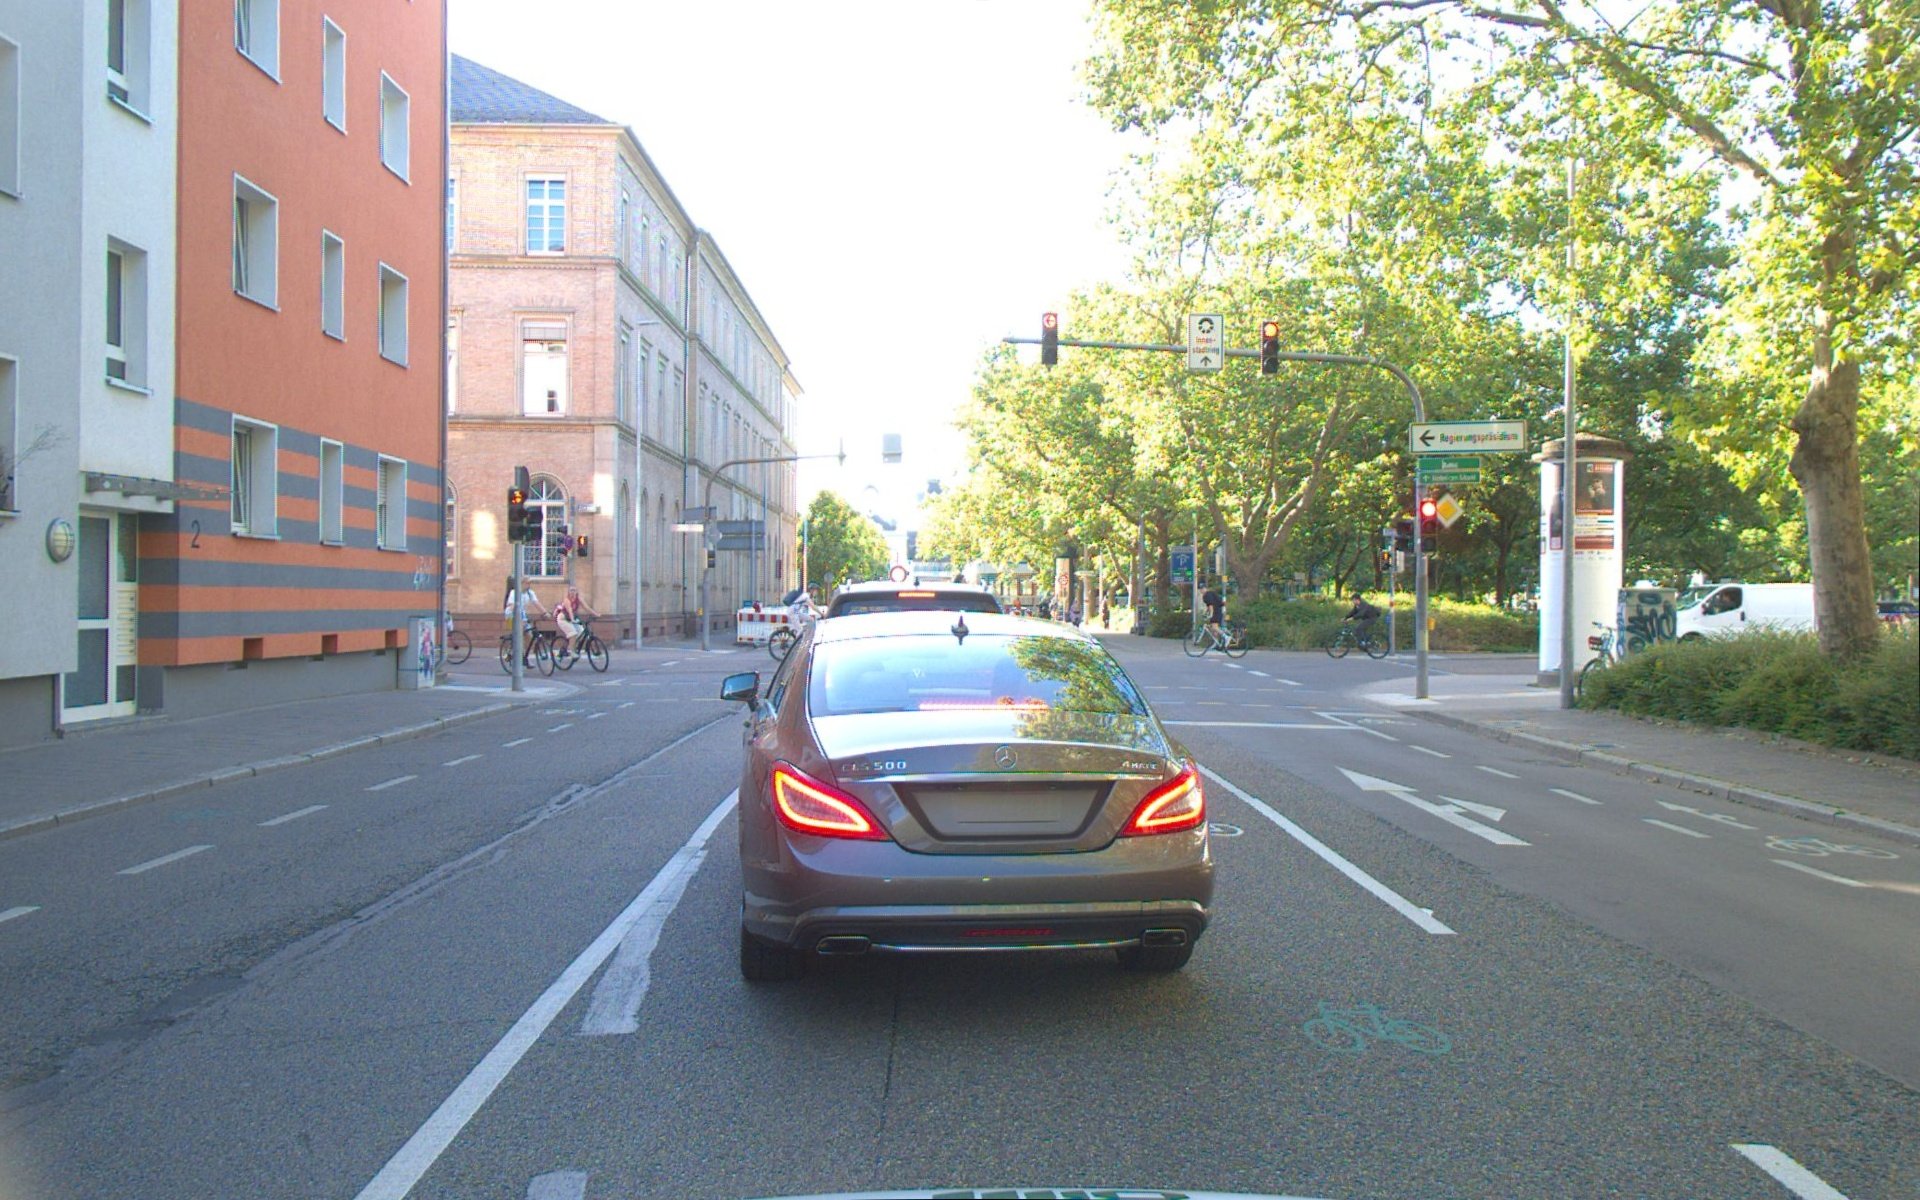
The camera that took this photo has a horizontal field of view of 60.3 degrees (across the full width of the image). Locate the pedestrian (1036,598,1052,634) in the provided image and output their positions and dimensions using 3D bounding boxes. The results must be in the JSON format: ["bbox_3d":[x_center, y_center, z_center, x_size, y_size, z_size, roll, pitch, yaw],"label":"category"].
[{"bbox_3d":[3.552,0.669,69.827,0.635,1.529,0.637,0,0,-1],"label":"pedestrian"}]

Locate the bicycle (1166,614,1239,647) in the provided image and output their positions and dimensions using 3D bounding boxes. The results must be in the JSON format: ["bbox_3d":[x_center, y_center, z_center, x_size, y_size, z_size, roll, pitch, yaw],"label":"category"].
[{"bbox_3d":[6.359,0.808,43.353,1.856,0.851,0.457,0,0,-9],"label":"bicycle"}]

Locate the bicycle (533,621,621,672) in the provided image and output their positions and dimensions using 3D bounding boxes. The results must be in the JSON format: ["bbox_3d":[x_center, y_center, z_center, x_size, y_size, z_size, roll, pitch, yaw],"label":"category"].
[{"bbox_3d":[-7.688,0.920,33.177,1.826,0.945,0.693,0,0,36],"label":"bicycle"}]

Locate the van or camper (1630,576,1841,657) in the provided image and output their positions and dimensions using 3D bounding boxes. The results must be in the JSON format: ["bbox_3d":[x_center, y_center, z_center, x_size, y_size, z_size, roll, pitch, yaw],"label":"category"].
[{"bbox_3d":[19.795,0.409,42.323,4.486,1.975,1.999,0,0,-2],"label":"van or camper"}]

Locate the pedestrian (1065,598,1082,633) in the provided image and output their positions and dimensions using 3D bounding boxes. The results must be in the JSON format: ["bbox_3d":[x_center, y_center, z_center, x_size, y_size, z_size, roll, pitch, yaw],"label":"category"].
[{"bbox_3d":[4.737,0.661,69.143,0.635,1.458,0.659,0,0,-1],"label":"pedestrian"}]

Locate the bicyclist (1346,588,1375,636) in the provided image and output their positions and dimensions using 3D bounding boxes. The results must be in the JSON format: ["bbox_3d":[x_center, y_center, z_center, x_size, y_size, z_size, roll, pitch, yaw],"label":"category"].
[{"bbox_3d":[10.749,0.321,44.395,0.689,1.282,0.458,0,0,3],"label":"bicyclist"}]

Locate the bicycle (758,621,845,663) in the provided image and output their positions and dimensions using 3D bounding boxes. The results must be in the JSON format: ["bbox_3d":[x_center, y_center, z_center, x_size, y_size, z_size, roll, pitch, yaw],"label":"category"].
[{"bbox_3d":[-3.536,0.930,36.968,1.853,0.898,0.726,0,0,3],"label":"bicycle"}]

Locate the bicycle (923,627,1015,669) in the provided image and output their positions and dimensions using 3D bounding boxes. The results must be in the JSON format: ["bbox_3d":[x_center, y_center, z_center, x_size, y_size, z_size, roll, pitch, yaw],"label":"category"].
[{"bbox_3d":[0.193,1.022,35.408,1.934,0.851,0.677,0,0,0],"label":"bicycle"}]

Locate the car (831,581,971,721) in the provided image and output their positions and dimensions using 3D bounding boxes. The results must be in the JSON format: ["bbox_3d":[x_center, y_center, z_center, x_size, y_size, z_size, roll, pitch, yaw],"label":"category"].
[{"bbox_3d":[-0.783,0.652,23.228,1.783,1.793,3.999,0,0,-1],"label":"car"}]

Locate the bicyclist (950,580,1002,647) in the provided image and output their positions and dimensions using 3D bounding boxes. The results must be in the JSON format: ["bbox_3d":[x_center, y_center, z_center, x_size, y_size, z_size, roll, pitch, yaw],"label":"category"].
[{"bbox_3d":[0.339,0.284,35.405,1.081,1.427,0.657,0,0,-1],"label":"bicyclist"}]

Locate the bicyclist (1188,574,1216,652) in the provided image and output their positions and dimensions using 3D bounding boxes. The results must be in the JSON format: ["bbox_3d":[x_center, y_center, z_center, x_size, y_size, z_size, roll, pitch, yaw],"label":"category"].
[{"bbox_3d":[6.345,0.343,43.350,0.640,2.049,0.439,0,0,-8],"label":"bicyclist"}]

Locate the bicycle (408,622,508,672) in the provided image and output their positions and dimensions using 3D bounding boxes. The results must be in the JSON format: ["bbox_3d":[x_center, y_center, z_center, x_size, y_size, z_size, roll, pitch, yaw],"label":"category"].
[{"bbox_3d":[-10.826,0.999,35.710,1.939,1.045,0.652,0,0,1],"label":"bicycle"}]

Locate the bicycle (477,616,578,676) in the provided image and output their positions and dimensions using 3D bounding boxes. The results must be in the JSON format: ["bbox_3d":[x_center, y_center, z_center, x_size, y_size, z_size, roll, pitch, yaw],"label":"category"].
[{"bbox_3d":[-8.325,0.875,31.807,1.796,1.097,0.864,0,0,30],"label":"bicycle"}]

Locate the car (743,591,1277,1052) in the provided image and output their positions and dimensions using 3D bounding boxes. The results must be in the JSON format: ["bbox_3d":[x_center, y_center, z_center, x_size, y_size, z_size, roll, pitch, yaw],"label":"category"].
[{"bbox_3d":[-0.094,0.756,7.616,1.769,1.482,4.342,0,-1,-8],"label":"car"}]

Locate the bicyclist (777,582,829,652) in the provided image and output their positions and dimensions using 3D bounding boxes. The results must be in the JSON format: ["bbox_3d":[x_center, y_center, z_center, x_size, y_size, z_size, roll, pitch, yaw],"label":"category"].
[{"bbox_3d":[-3.503,0.382,36.978,1.052,1.546,0.717,0,0,4],"label":"bicyclist"}]

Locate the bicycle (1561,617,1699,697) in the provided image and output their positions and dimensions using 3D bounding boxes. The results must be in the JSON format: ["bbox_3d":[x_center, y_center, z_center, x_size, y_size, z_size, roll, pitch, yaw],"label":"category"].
[{"bbox_3d":[9.607,0.807,23.745,1.766,1.116,0.510,0,0,2],"label":"bicycle"}]

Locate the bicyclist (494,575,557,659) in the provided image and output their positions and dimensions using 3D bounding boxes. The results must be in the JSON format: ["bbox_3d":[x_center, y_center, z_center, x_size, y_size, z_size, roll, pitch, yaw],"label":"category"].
[{"bbox_3d":[-8.350,0.324,31.812,0.821,1.582,0.843,0,0,30],"label":"bicyclist"}]

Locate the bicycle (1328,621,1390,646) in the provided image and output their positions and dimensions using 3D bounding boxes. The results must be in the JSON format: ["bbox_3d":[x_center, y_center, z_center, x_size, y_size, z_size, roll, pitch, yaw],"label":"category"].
[{"bbox_3d":[10.690,0.905,44.361,1.554,0.646,0.496,0,0,3],"label":"bicycle"}]

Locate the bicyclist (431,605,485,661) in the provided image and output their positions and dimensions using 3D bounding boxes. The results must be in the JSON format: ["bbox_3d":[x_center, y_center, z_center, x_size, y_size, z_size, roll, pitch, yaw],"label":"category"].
[{"bbox_3d":[-10.833,0.706,35.703,0.971,1.174,0.620,0,0,1],"label":"bicyclist"}]

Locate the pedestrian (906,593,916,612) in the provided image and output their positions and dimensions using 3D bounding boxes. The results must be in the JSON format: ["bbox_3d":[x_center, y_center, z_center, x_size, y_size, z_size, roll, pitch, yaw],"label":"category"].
[{"bbox_3d":[-4.164,0.220,140.716,0.785,1.604,0.844,0,0,-1],"label":"pedestrian"}]

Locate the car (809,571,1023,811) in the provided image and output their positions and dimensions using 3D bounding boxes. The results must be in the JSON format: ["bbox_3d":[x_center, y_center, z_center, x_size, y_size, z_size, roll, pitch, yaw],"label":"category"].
[{"bbox_3d":[-0.399,0.639,13.614,1.487,1.675,3.878,1,0,-3],"label":"car"}]

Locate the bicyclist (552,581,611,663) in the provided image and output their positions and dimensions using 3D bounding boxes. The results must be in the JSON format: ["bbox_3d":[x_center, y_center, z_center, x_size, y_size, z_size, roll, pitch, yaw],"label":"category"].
[{"bbox_3d":[-7.575,0.430,33.097,0.962,1.605,0.684,0,0,35],"label":"bicyclist"}]
